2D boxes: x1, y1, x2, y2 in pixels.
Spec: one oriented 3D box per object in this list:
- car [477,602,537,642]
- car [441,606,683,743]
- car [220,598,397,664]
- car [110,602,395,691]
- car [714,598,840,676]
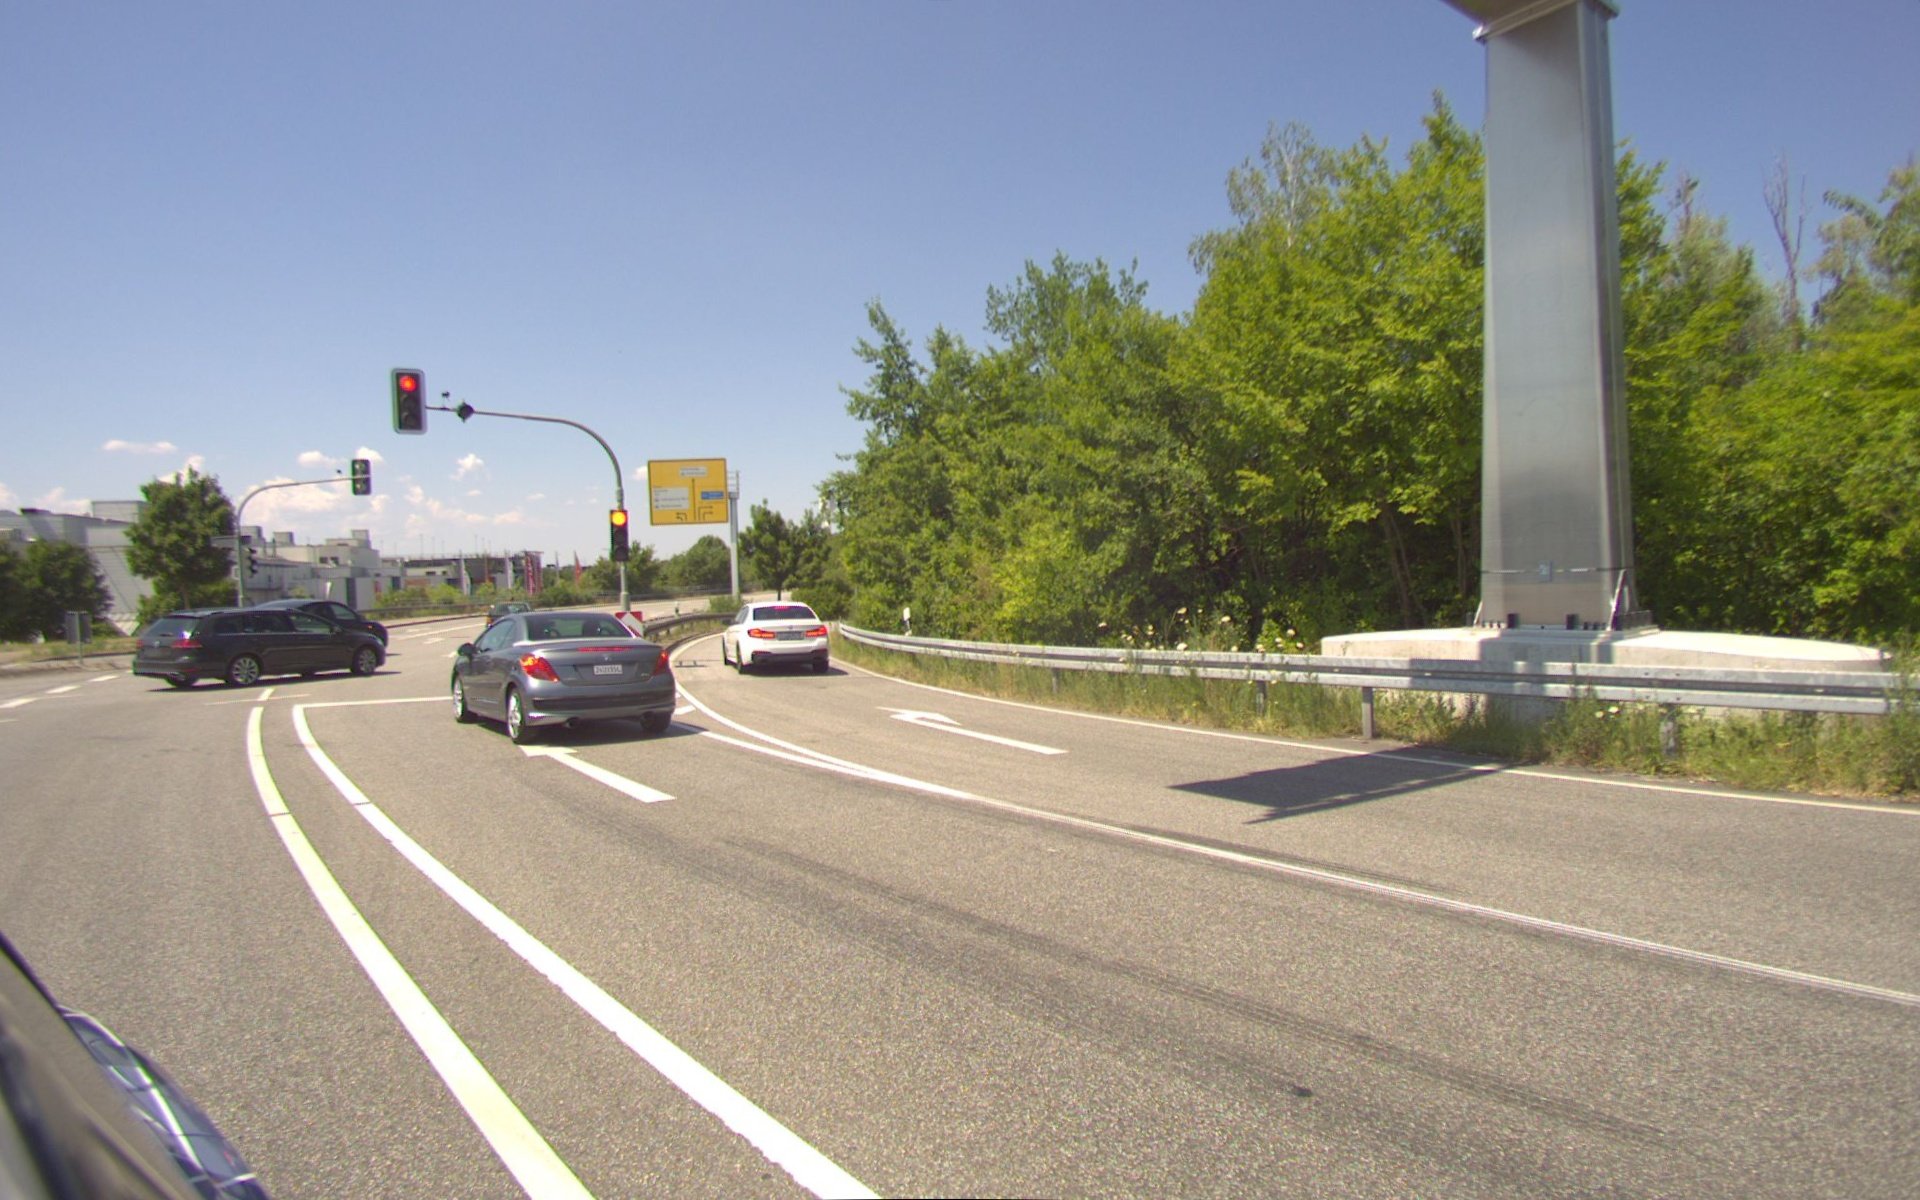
[{"bbox_3d":[-16.897,0.775,37.901,1.597,1.418,3.310,0,0,-16],"label":"car"},{"bbox_3d":[-4.888,0.780,12.108,1.624,1.362,3.976,0,-1,-38],"label":"car"},{"bbox_3d":[-17.453,0.776,27.418,1.855,1.613,4.504,0,0,1],"label":"car"},{"bbox_3d":[-13.639,0.810,19.866,1.770,1.493,4.399,0,1,20],"label":"car"},{"bbox_3d":[-4.092,0.731,21.947,1.812,1.495,4.853,0,-1,-21],"label":"car"}]
